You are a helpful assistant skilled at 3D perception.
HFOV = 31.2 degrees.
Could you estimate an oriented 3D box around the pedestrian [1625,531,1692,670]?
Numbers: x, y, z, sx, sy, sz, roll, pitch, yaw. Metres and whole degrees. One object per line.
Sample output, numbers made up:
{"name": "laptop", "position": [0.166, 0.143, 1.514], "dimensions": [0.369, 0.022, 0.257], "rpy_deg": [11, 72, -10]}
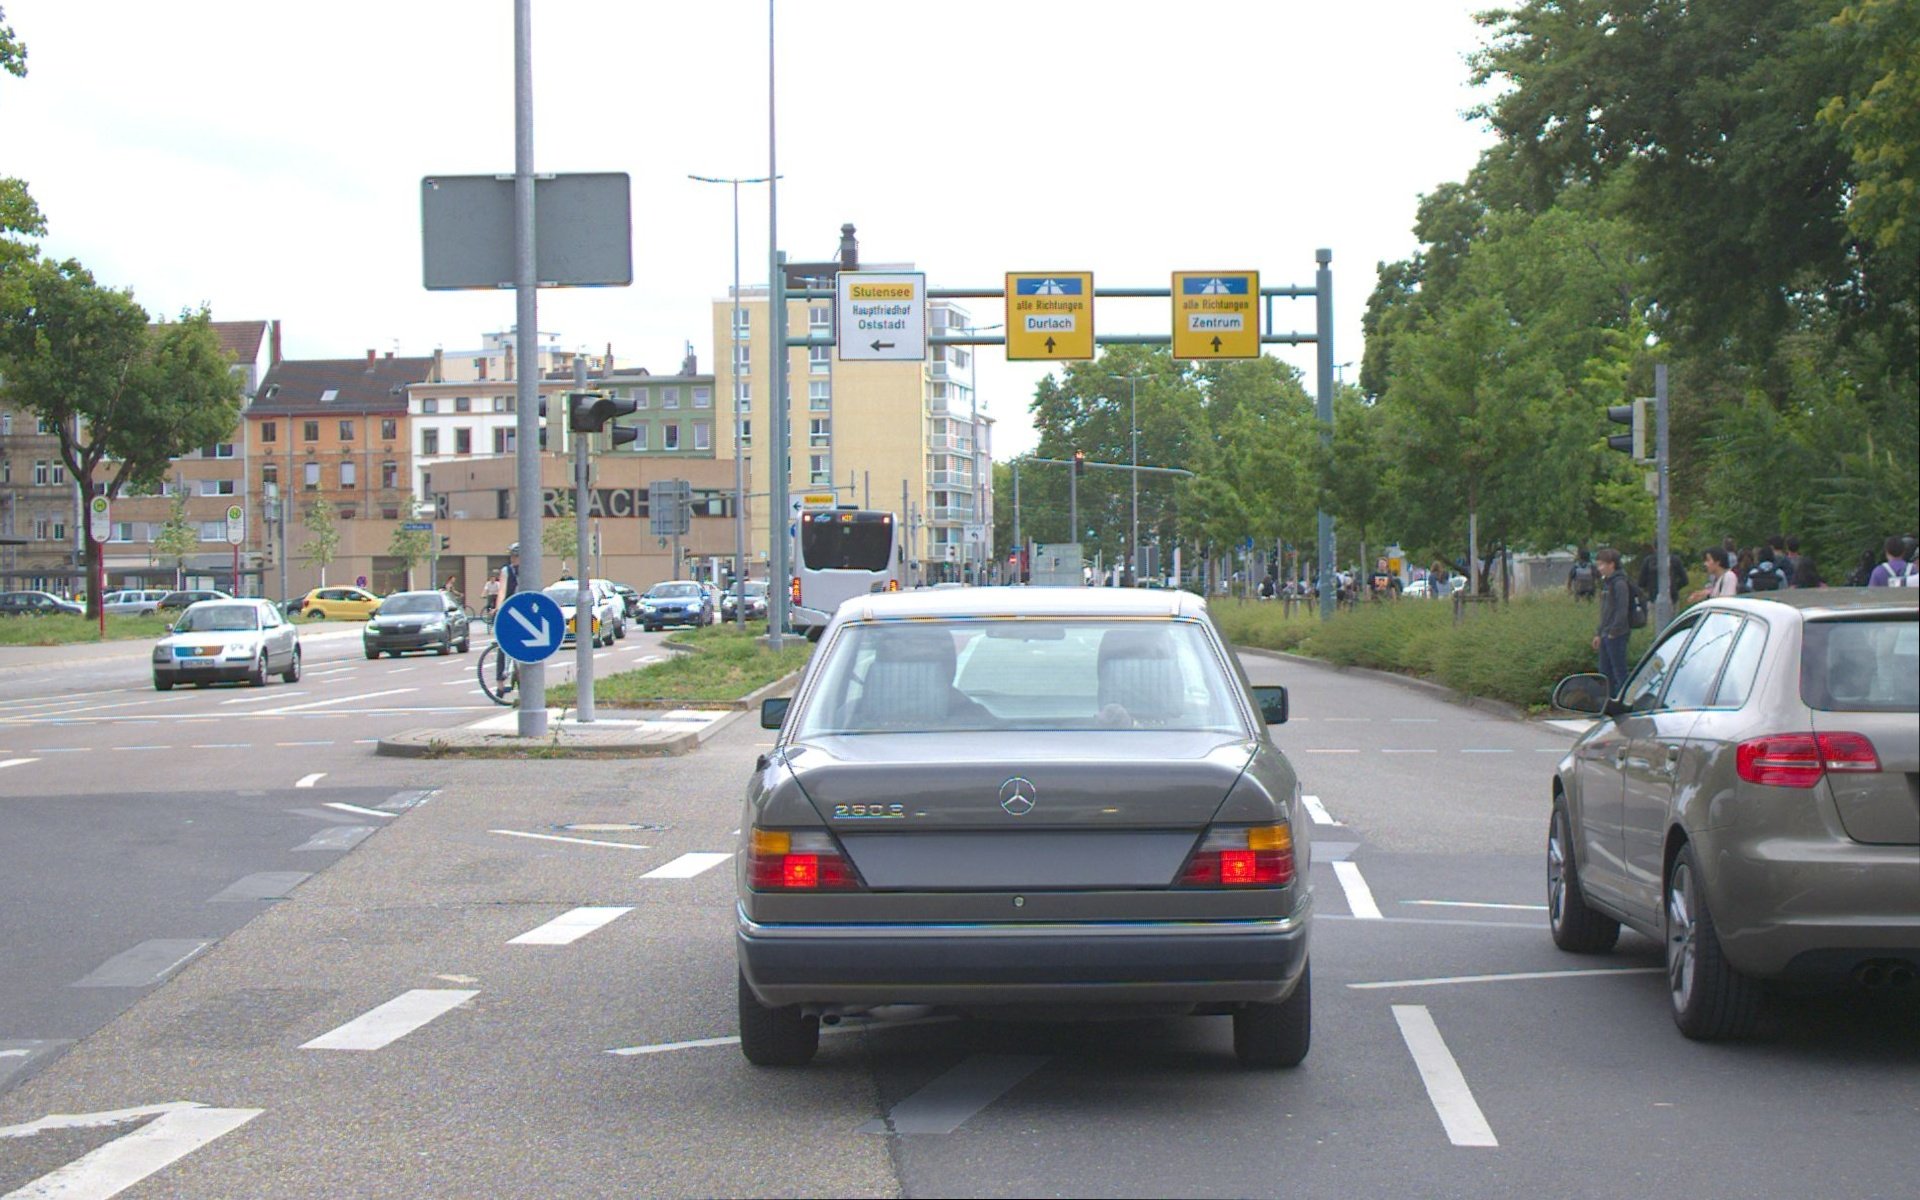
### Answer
{"name": "pedestrian", "position": [9.302, 0.003, 45.806], "dimensions": [0.693, 1.815, 0.954], "rpy_deg": [-1, 1, 1]}

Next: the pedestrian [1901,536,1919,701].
{"name": "pedestrian", "position": [10.554, 0.188, 36.726], "dimensions": [0.656, 1.760, 0.958], "rpy_deg": [-2, 1, -1]}

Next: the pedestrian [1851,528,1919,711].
{"name": "pedestrian", "position": [9.022, 0.177, 33.147], "dimensions": [0.624, 1.739, 0.780], "rpy_deg": [-1, 1, -1]}

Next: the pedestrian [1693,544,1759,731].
{"name": "pedestrian", "position": [7.165, 0.344, 32.163], "dimensions": [0.454, 1.729, 0.637], "rpy_deg": [0, 0, -2]}

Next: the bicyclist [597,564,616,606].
{"name": "bicyclist", "position": [-11.951, -0.523, 116.223], "dimensions": [0.580, 1.414, 0.811], "rpy_deg": [-1, 1, -3]}

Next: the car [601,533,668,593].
{"name": "car", "position": [-11.143, -1.269, 117.962], "dimensions": [1.941, 2.007, 4.000], "rpy_deg": [-1, 0, -1]}

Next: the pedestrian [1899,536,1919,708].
{"name": "pedestrian", "position": [9.948, 0.217, 34.887], "dimensions": [0.581, 1.739, 0.790], "rpy_deg": [-1, 1, -1]}

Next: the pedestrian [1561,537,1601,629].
{"name": "pedestrian", "position": [11.382, -0.312, 63.023], "dimensions": [0.587, 1.677, 0.748], "rpy_deg": [-1, 1, 1]}

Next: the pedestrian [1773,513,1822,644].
{"name": "pedestrian", "position": [11.366, -0.298, 46.658], "dimensions": [0.484, 1.757, 0.664], "rpy_deg": [-1, 1, 1]}

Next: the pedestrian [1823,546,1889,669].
{"name": "pedestrian", "position": [11.625, 0.090, 44.624], "dimensions": [0.635, 1.578, 0.785], "rpy_deg": [-1, 1, 1]}

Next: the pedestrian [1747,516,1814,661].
{"name": "pedestrian", "position": [10.458, -0.149, 43.838], "dimensions": [0.656, 1.815, 0.812], "rpy_deg": [-1, 1, 1]}

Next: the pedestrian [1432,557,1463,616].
{"name": "pedestrian", "position": [12.047, -0.336, 84.872], "dimensions": [0.657, 1.465, 0.561], "rpy_deg": [-1, 0, 18]}

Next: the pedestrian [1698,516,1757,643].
{"name": "pedestrian", "position": [10.577, -0.286, 47.370], "dimensions": [0.619, 1.729, 0.814], "rpy_deg": [-1, 1, 1]}

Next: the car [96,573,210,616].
{"name": "car", "position": [-31.898, -0.228, 135.924], "dimensions": [4.153, 1.644, 1.647], "rpy_deg": [-1, 1, -5]}

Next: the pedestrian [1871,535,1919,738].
{"name": "pedestrian", "position": [8.018, 0.296, 28.853], "dimensions": [0.545, 1.681, 0.637], "rpy_deg": [0, 0, -2]}

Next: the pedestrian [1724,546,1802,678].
{"name": "pedestrian", "position": [9.915, 0.141, 42.465], "dimensions": [0.775, 1.597, 0.812], "rpy_deg": [-1, 1, 1]}

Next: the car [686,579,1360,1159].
{"name": "car", "position": [0.151, 0.696, 11.135], "dimensions": [1.761, 1.484, 4.171], "rpy_deg": [0, 1, 0]}

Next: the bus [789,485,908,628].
{"name": "bus", "position": [-2.749, -1.086, 85.906], "dimensions": [2.831, 3.379, 8.183], "rpy_deg": [0, 1, -1]}

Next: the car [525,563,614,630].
{"name": "car", "position": [-9.001, -0.102, 79.525], "dimensions": [1.801, 1.484, 4.289], "rpy_deg": [-1, 1, -3]}

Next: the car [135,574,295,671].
{"name": "car", "position": [-12.063, 0.333, 55.903], "dimensions": [1.761, 1.484, 4.546], "rpy_deg": [0, 1, -2]}

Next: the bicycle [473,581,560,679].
{"name": "bicycle", "position": [-4.960, 0.328, 38.532], "dimensions": [0.573, 1.052, 1.926], "rpy_deg": [0, 1, 4]}

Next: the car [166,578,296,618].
{"name": "car", "position": [-27.970, -0.083, 132.009], "dimensions": [4.668, 1.470, 1.661], "rpy_deg": [1, 1, -4]}

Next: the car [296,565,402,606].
{"name": "car", "position": [-23.497, -0.566, 132.365], "dimensions": [3.856, 1.512, 1.661], "rpy_deg": [1, 1, -4]}

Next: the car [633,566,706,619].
{"name": "car", "position": [-8.535, -0.228, 101.373], "dimensions": [1.801, 1.506, 4.104], "rpy_deg": [0, 0, 0]}

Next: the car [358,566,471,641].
{"name": "car", "position": [-12.260, 0.051, 77.484], "dimensions": [1.897, 1.610, 4.745], "rpy_deg": [0, 1, -2]}

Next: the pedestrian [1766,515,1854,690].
{"name": "pedestrian", "position": [8.579, 0.022, 34.721], "dimensions": [0.656, 1.739, 0.780], "rpy_deg": [-1, 1, -1]}

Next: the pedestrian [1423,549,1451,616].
{"name": "pedestrian", "position": [12.348, -0.458, 88.965], "dimensions": [0.647, 1.707, 0.561], "rpy_deg": [-1, 0, 16]}

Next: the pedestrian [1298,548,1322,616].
{"name": "pedestrian", "position": [10.345, -0.528, 101.638], "dimensions": [0.614, 2.007, 0.597], "rpy_deg": [0, 0, -1]}

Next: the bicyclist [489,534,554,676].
{"name": "bicyclist", "position": [-4.901, 0.055, 38.453], "dimensions": [0.572, 1.568, 0.699], "rpy_deg": [0, 1, 5]}

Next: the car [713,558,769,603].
{"name": "car", "position": [-7.635, -0.695, 120.064], "dimensions": [1.572, 1.484, 3.636], "rpy_deg": [-3, 1, 2]}

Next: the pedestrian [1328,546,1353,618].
{"name": "pedestrian", "position": [10.647, -0.499, 96.139], "dimensions": [0.614, 2.007, 0.597], "rpy_deg": [0, 0, -1]}

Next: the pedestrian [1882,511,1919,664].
{"name": "pedestrian", "position": [10.746, -0.148, 38.339], "dimensions": [0.656, 1.683, 0.842], "rpy_deg": [-1, 1, -1]}

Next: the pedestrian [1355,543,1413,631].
{"name": "pedestrian", "position": [8.870, -0.271, 71.907], "dimensions": [0.935, 1.824, 0.886], "rpy_deg": [0, 1, 28]}

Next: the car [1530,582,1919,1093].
{"name": "car", "position": [3.089, 0.682, 11.855], "dimensions": [1.724, 1.452, 3.736], "rpy_deg": [0, 1, 2]}

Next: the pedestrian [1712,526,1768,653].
{"name": "pedestrian", "position": [10.299, -0.139, 45.402], "dimensions": [0.555, 1.649, 0.753], "rpy_deg": [-1, 1, 1]}

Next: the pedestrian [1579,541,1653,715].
{"name": "pedestrian", "position": [6.598, 0.272, 34.603], "dimensions": [0.601, 1.729, 0.654], "rpy_deg": [0, 0, -2]}

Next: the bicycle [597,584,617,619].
{"name": "bicycle", "position": [-11.933, 0.042, 116.266], "dimensions": [0.581, 1.166, 1.964], "rpy_deg": [-1, 1, -3]}
